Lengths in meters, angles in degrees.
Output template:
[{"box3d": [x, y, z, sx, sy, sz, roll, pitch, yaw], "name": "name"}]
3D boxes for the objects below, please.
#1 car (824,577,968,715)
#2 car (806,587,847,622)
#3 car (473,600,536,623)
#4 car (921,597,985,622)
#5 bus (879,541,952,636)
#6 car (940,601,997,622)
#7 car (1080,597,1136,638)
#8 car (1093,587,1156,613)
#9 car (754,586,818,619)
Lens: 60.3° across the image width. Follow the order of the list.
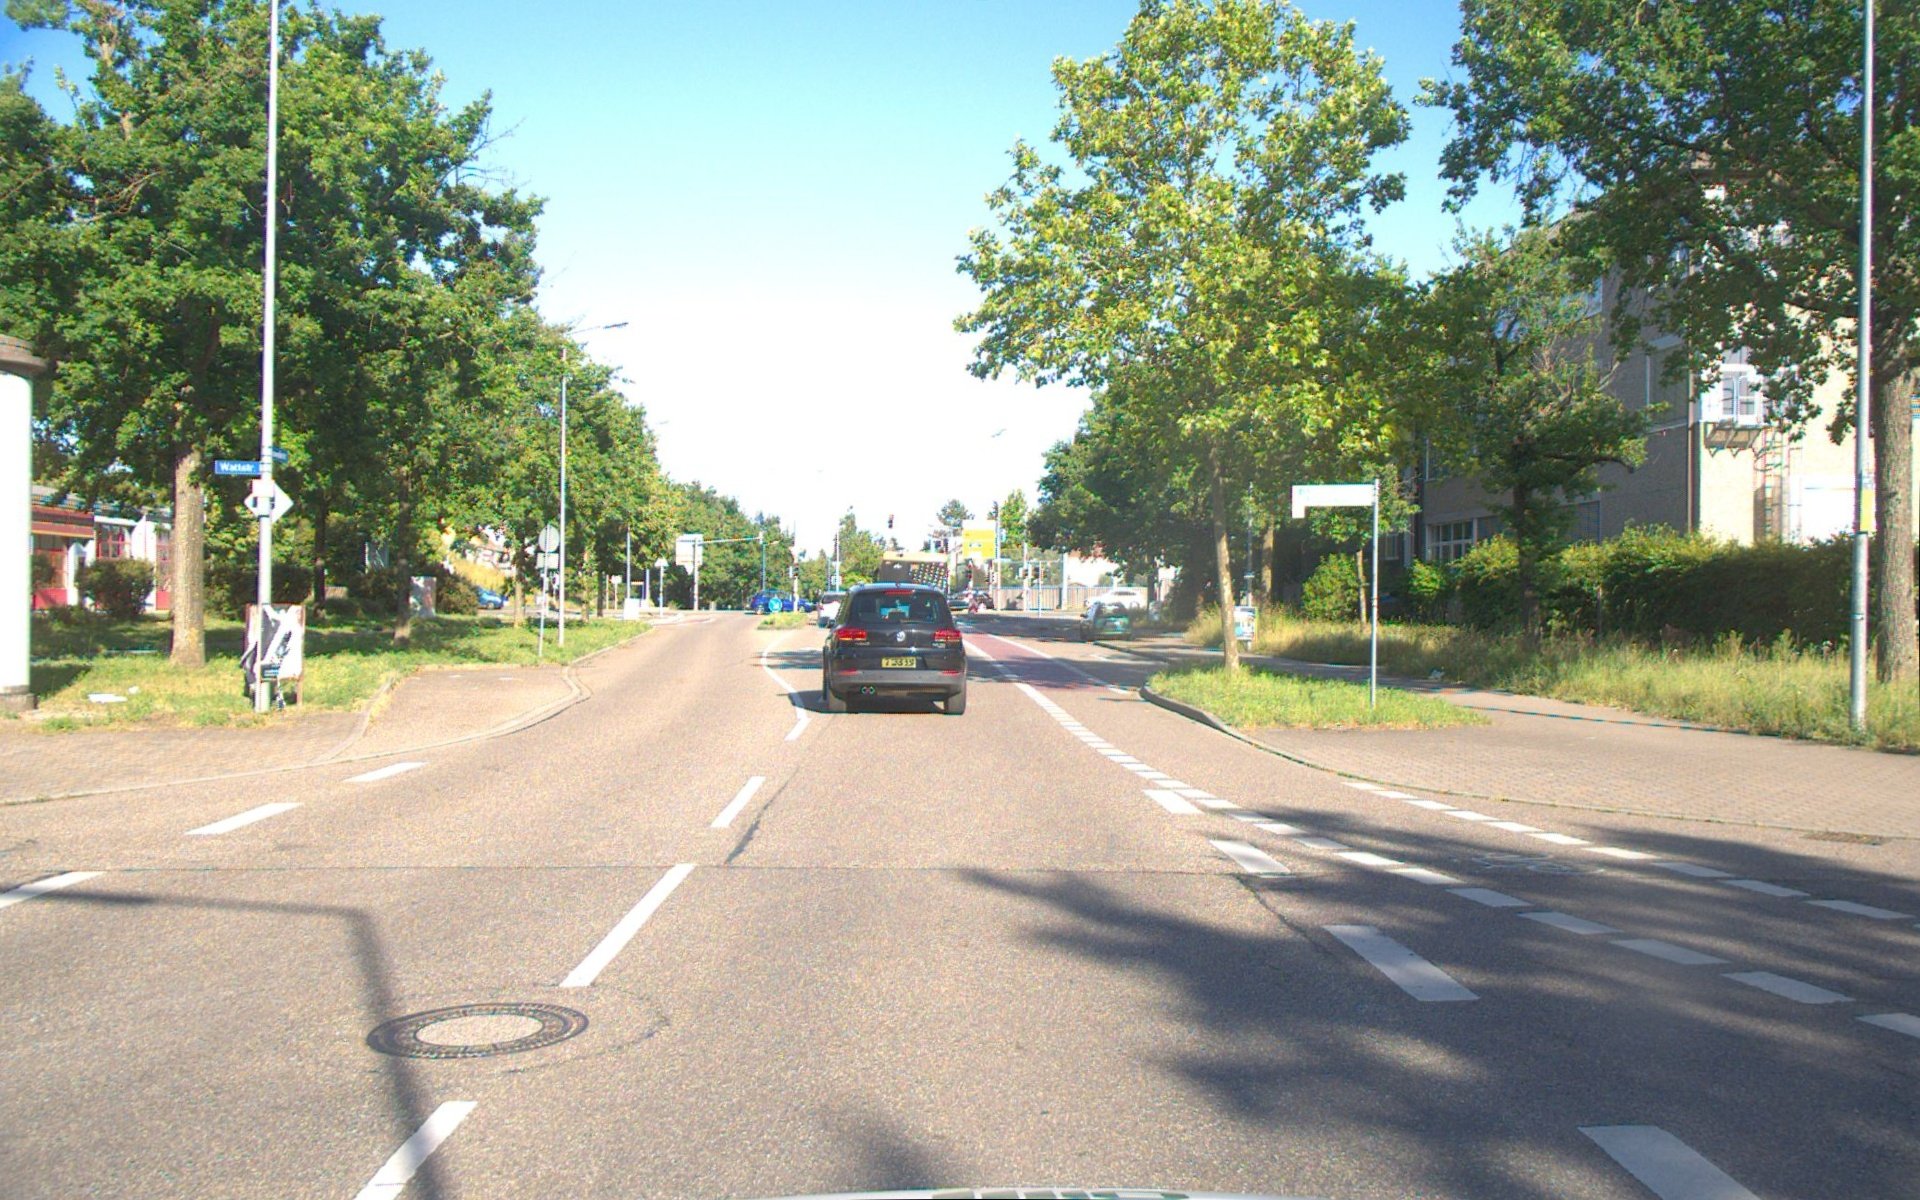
[{"box3d": [-0.815, 0.598, 22.541, 1.784, 1.703, 4.002, 0, -1, -1], "name": "car"}, {"box3d": [-6.487, 0.243, 80.112, 1.721, 1.649, 4.025, 1, -1, -9], "name": "car"}, {"box3d": [-29.726, 0.752, 108.039, 3.778, 1.409, 1.678, 2, -1, -12], "name": "car"}, {"box3d": [-0.372, 0.503, 92.587, 3.448, 1.325, 1.576, 1, 0, 6], "name": "car"}, {"box3d": [-1.921, -0.447, 66.667, 2.544, 3.393, 11.976, 2, 0, -3], "name": "bus"}, {"box3d": [0.602, 0.820, 118.776, 3.823, 1.363, 1.678, 2, -1, -12], "name": "car"}, {"box3d": [5.552, 0.656, 62.444, 1.560, 1.453, 4.202, -1, 0, -2], "name": "car"}, {"box3d": [11.998, 0.000, 120.532, 4.300, 1.713, 1.709, 2, -1, -8], "name": "car"}, {"box3d": [-10.990, 0.161, 104.316, 3.911, 1.913, 1.997, 2, -1, -7], "name": "car"}]
